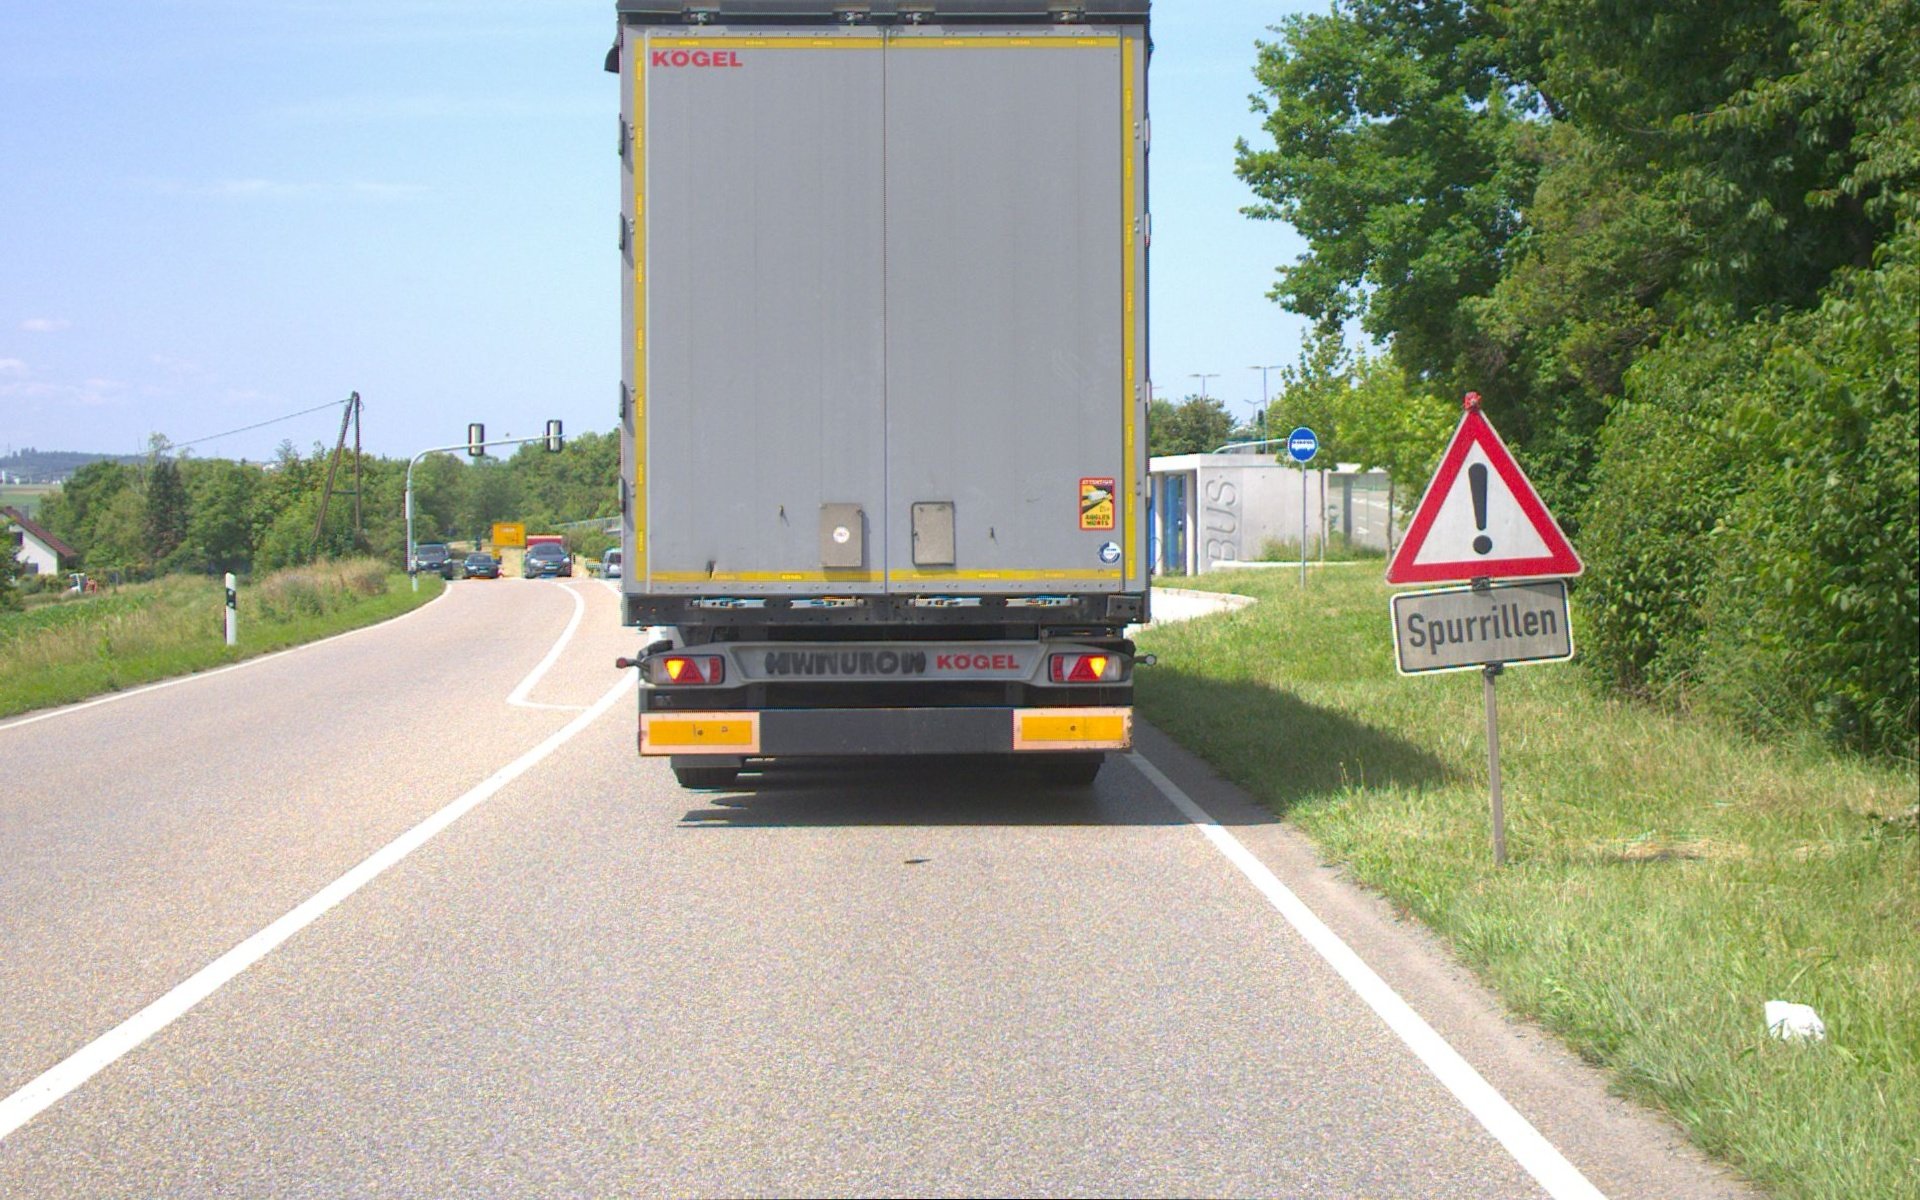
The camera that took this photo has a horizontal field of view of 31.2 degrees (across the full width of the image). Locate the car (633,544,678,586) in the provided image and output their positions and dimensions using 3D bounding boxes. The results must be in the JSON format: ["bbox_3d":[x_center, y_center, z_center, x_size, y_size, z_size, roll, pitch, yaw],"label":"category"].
[{"bbox_3d":[-15.254,-1.769,172.376,2.171,2.007,4.527,-2,1,-5],"label":"car"}]

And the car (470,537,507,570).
[{"bbox_3d":[-27.495,-2.705,200.500,1.993,1.809,4.297,-3,2,-8],"label":"car"}]

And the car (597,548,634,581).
[{"bbox_3d":[-19.158,-1.981,191.190,1.892,1.771,4.387,-2,1,-5],"label":"car"}]

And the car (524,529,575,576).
[{"bbox_3d":[-17.760,-2.059,148.979,1.993,1.943,4.503,-2,1,-5],"label":"car"}]

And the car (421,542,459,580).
[{"bbox_3d":[-28.607,-2.163,189.246,1.993,1.971,5.280,-2,1,-8],"label":"car"}]

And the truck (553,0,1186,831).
[{"bbox_3d":[-0.611,-1.241,20.338,2.907,4.394,8.861,0,1,-3],"label":"truck"}]
